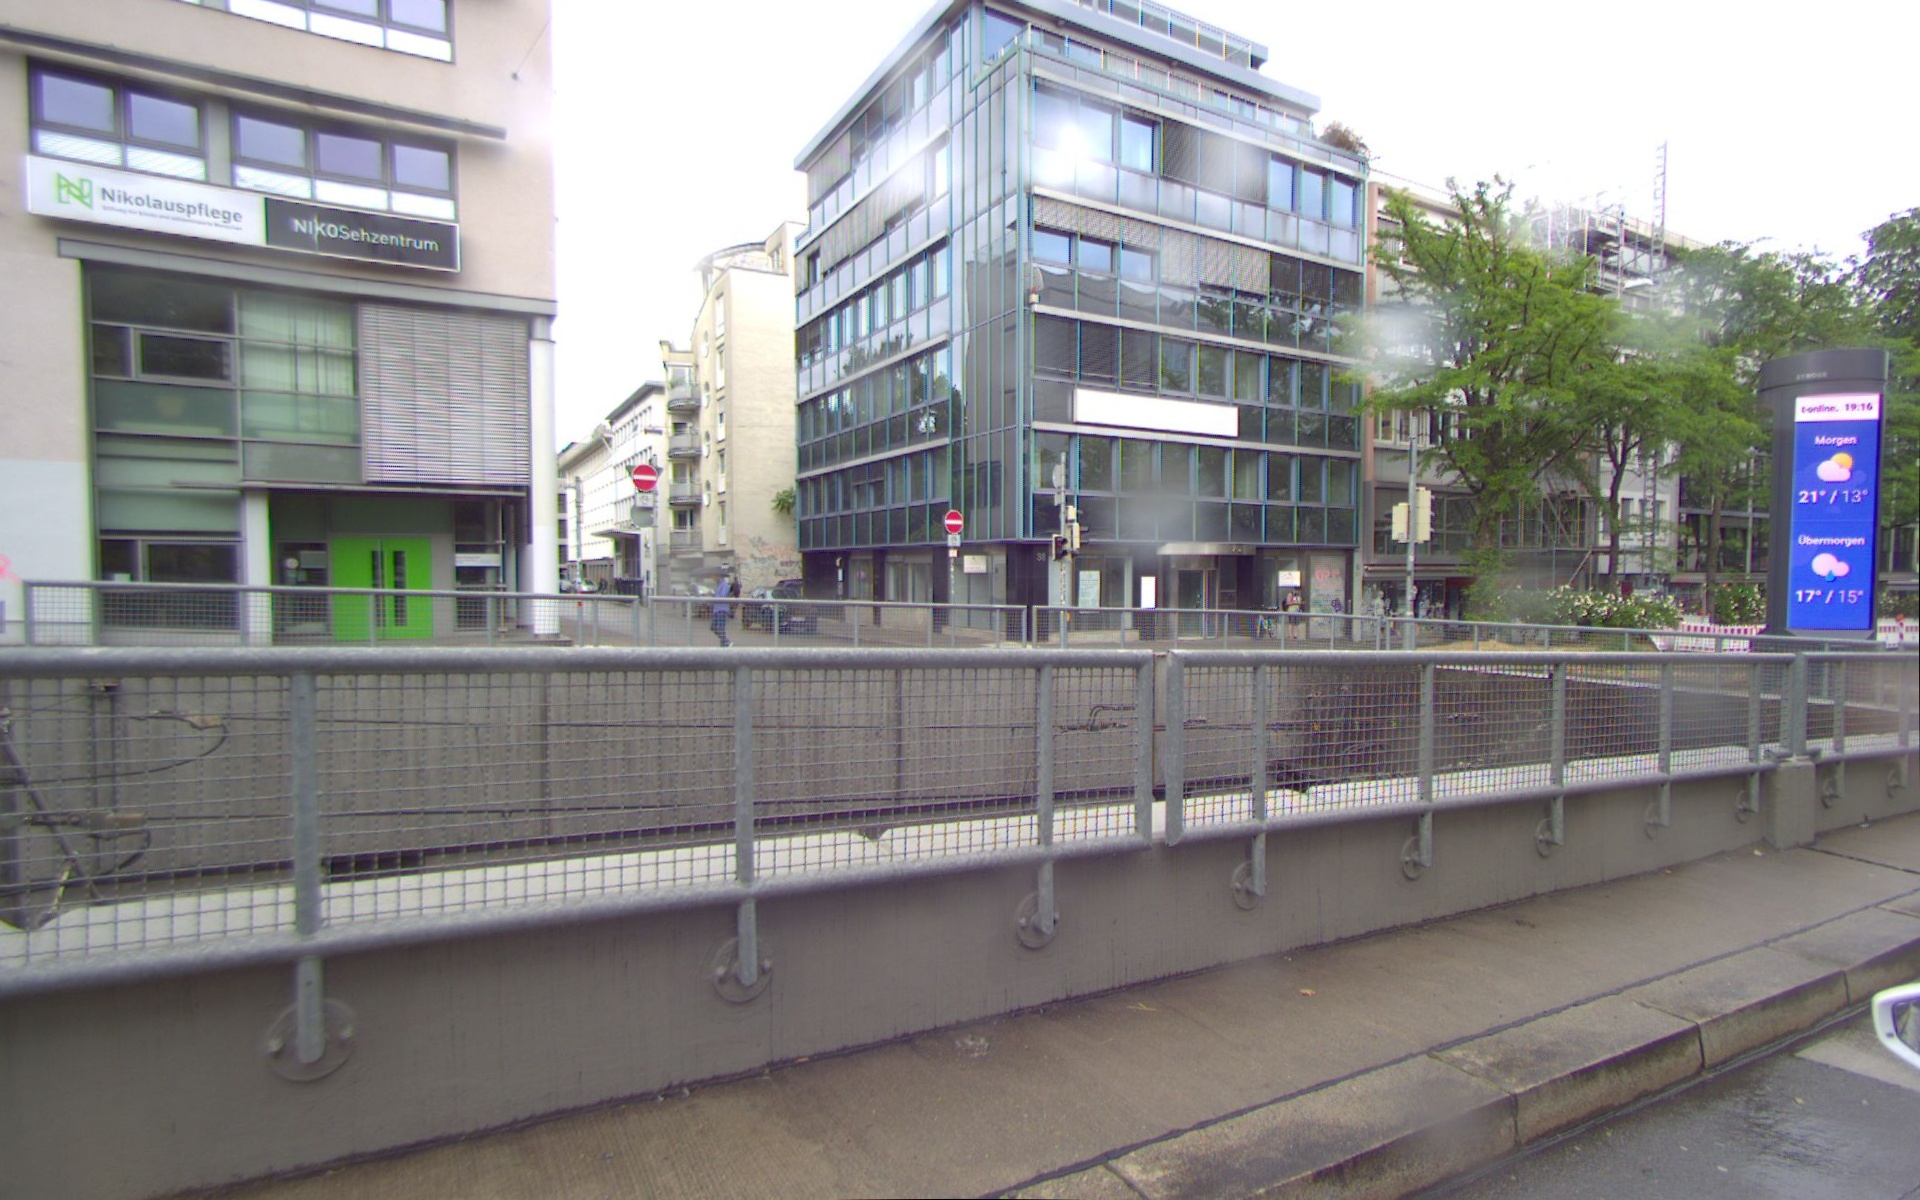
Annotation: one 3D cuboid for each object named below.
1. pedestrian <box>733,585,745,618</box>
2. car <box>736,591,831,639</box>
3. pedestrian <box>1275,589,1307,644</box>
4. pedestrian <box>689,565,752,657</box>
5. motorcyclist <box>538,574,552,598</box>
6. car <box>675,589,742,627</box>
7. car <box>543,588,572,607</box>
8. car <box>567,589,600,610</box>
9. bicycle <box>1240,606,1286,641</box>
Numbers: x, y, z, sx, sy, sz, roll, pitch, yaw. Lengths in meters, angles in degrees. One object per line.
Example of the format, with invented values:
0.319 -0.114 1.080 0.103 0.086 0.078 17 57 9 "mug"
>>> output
-11.204 0.082 50.883 0.443 1.664 0.326 1 2 -35 "pedestrian"
-6.239 0.482 35.158 1.977 1.578 3.966 1 0 -31 "car"
10.950 0.530 33.215 0.688 1.765 0.691 1 2 -35 "pedestrian"
-5.029 0.216 21.073 1.047 1.863 0.853 1 2 -30 "pedestrian"
-31.626 -1.061 76.553 0.850 1.832 1.007 1 2 -29 "motorcyclist"
-11.103 0.337 44.096 1.777 1.578 3.966 1 0 -31 "car"
-35.032 -0.208 87.397 1.777 1.578 3.967 1 0 -30 "car"
-29.545 -0.078 78.862 1.777 1.578 3.967 1 0 -30 "car"
9.871 0.759 32.708 1.544 1.100 0.444 1 1 -27 "bicycle"
